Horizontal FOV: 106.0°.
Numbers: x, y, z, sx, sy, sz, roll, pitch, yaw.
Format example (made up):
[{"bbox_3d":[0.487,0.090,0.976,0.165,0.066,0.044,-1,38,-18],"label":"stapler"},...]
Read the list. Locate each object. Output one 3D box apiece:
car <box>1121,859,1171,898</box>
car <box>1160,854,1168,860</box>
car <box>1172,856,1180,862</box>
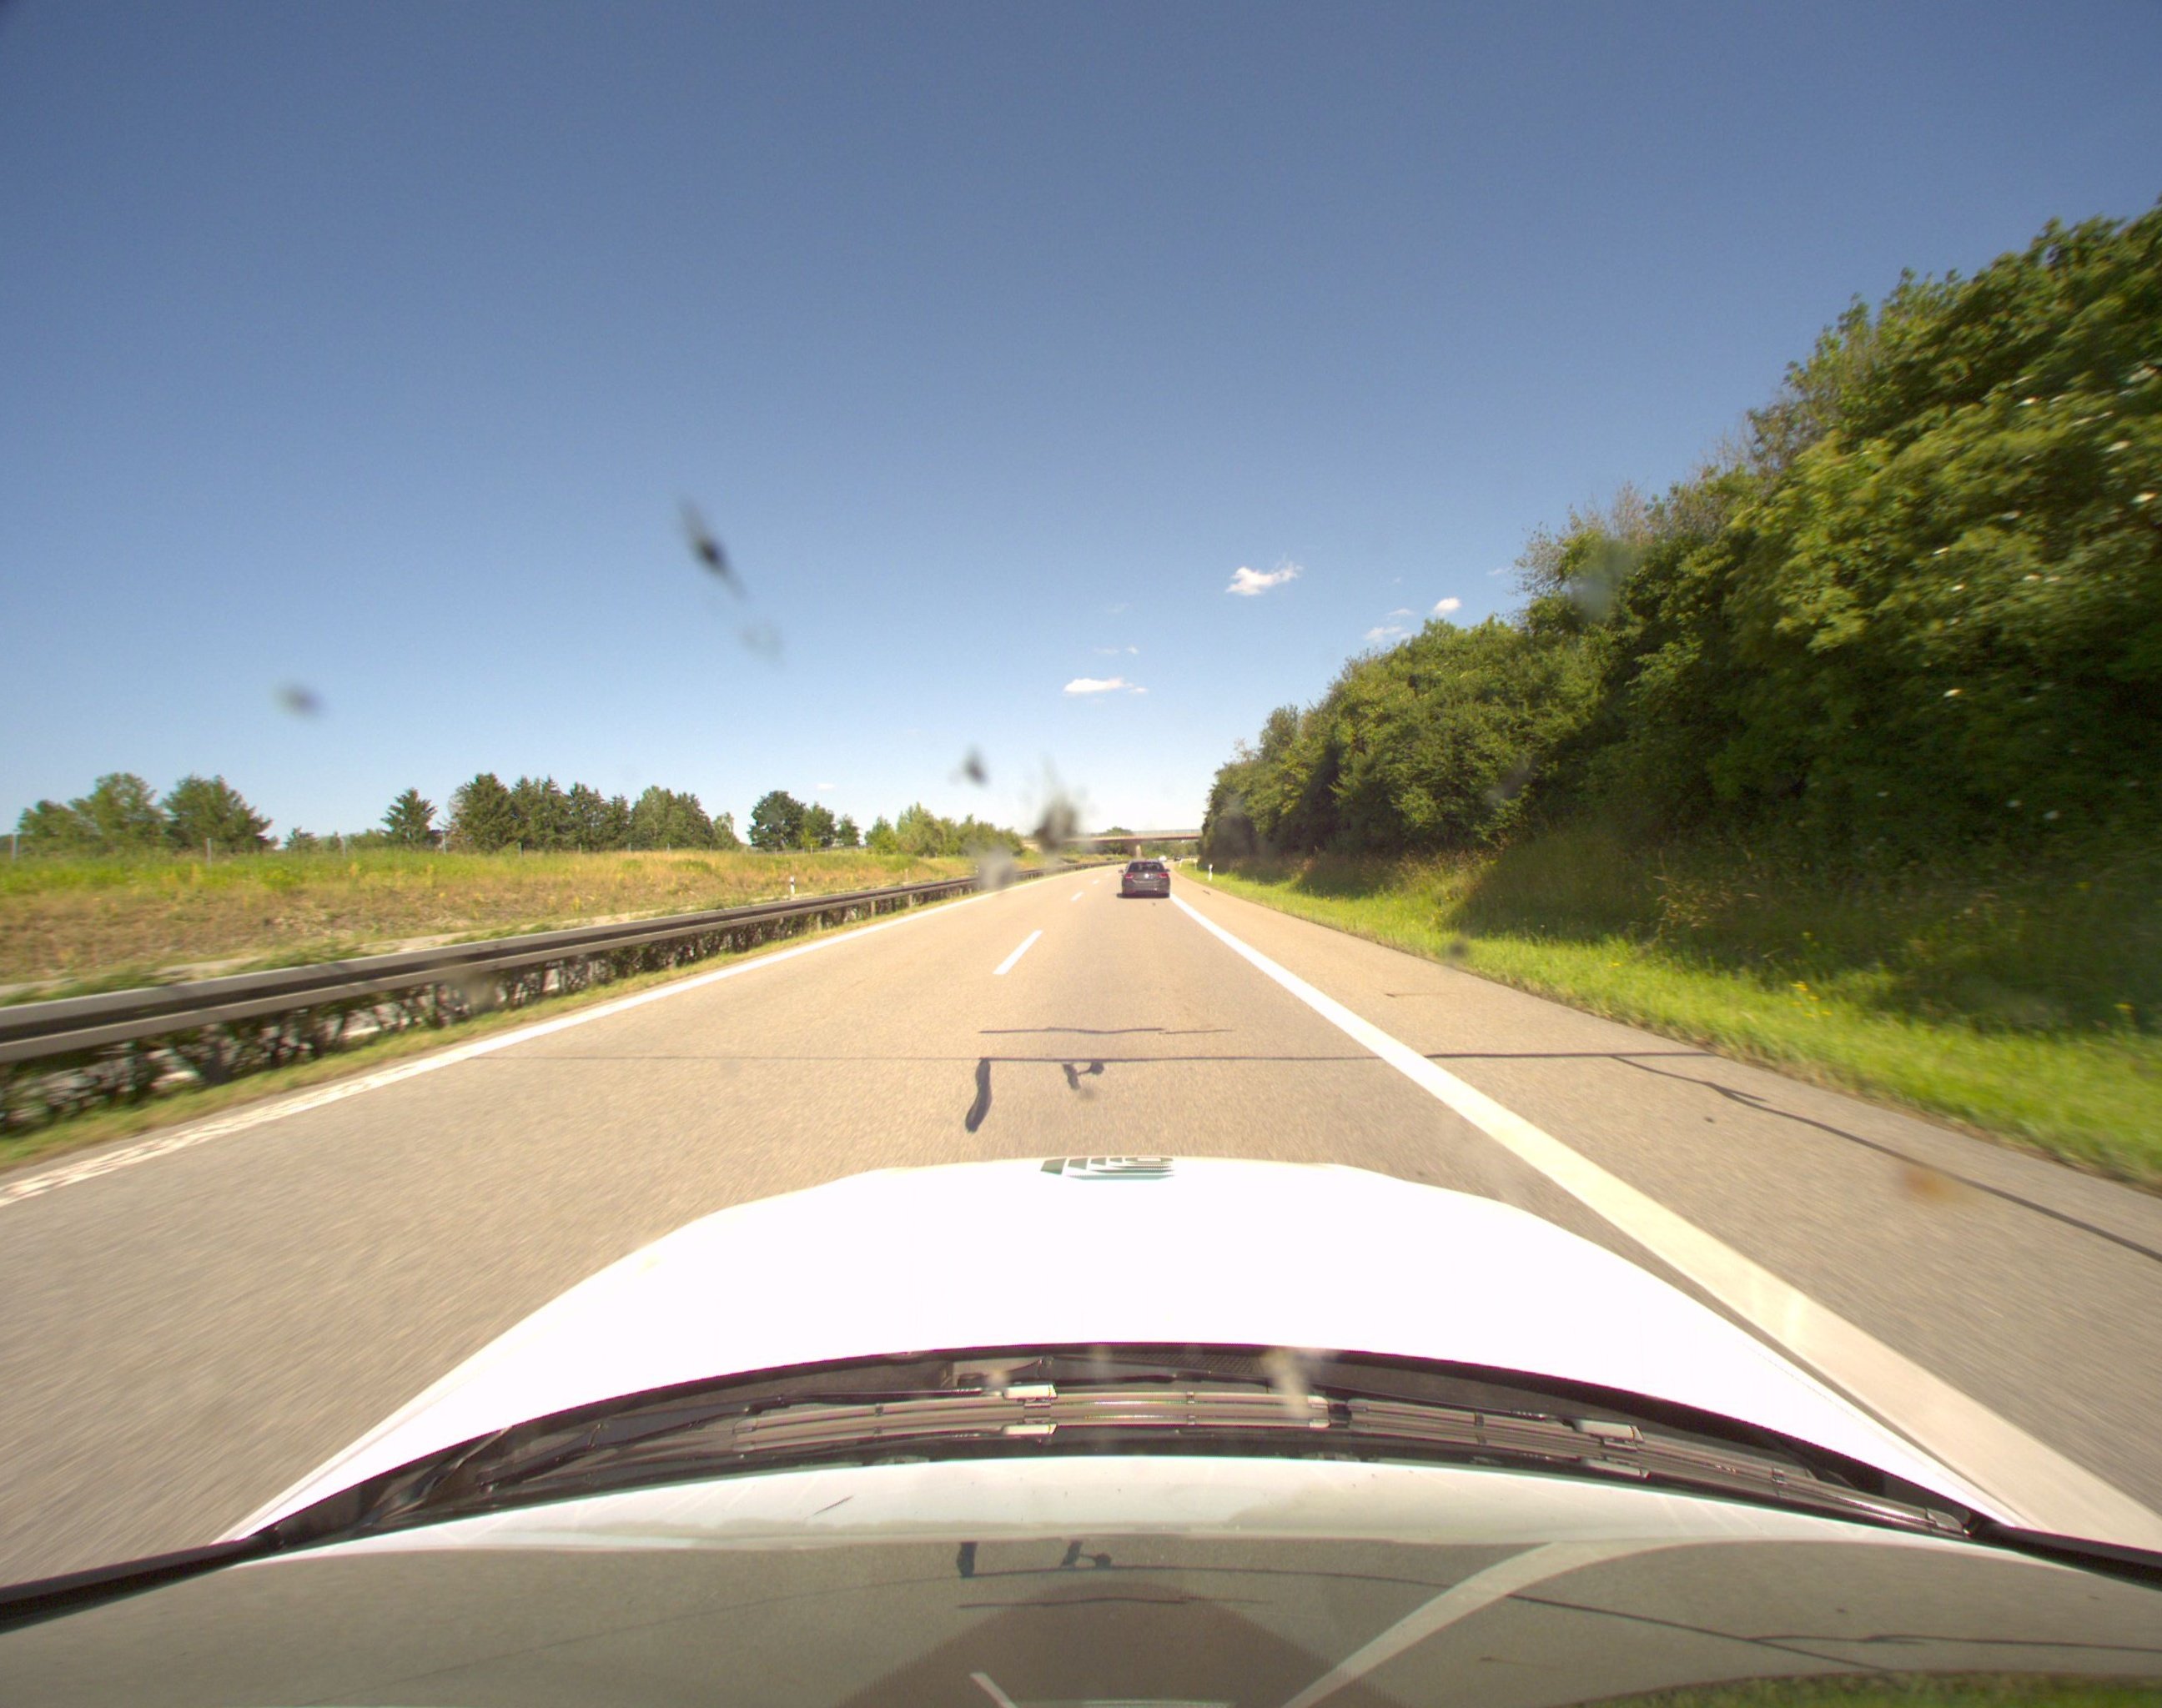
[{"bbox_3d":[2.464,0.885,31.023,1.783,1.344,4.004,0,0,4],"label":"car"},{"bbox_3d":[21.317,0.746,210.323,1.998,1.345,4.004,0,-2,4],"label":"car"},{"bbox_3d":[24.648,1.348,211.104,1.704,1.387,3.357,0,-2,2],"label":"car"}]
